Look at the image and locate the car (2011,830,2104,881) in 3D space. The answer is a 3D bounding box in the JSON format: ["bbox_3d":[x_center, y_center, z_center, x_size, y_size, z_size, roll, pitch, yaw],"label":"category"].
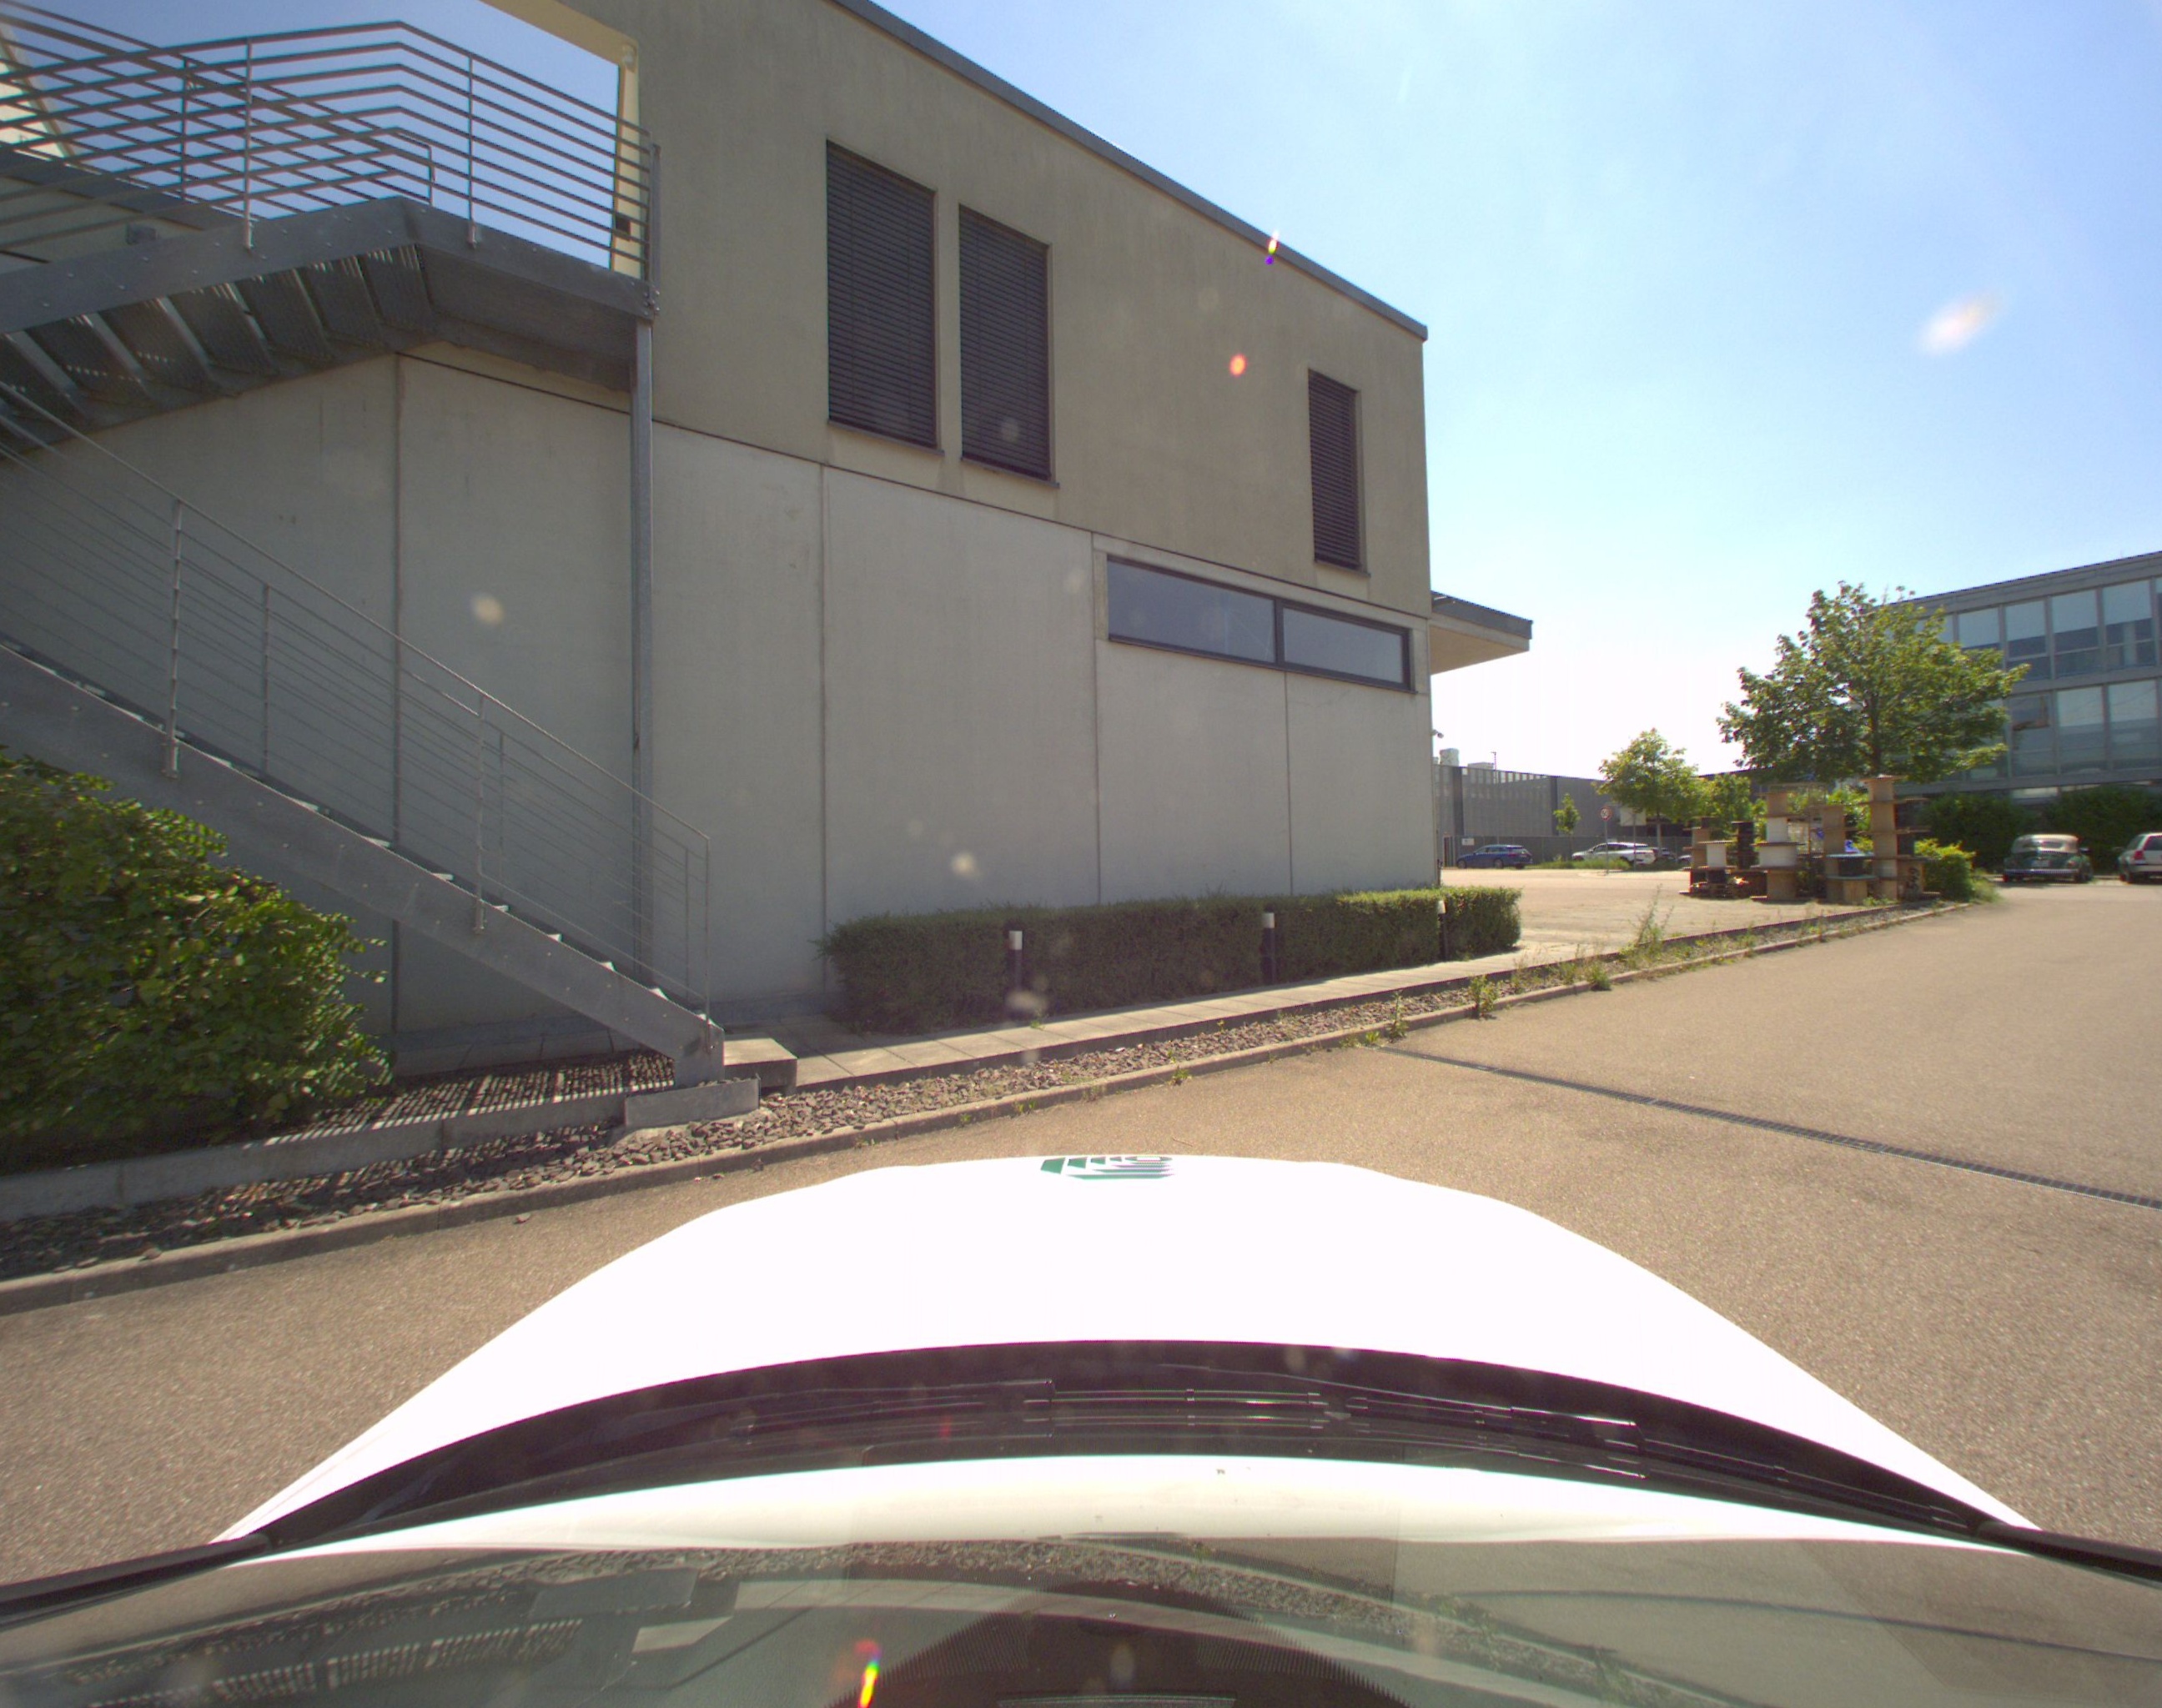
[{"bbox_3d":[30.116,0.016,25.105,3.669,1.449,1.530,-2,1,-35],"label":"car"}]

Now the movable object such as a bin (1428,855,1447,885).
[{"bbox_3d":[12.701,0.562,29.004,0.571,1.036,0.428,-2,-1,24],"label":"movable object such as a bin"}]

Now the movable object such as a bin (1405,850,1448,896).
[{"bbox_3d":[10.418,0.568,24.572,0.886,1.345,0.806,-1,-1,-27],"label":"movable object such as a bin"}]

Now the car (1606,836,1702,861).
[{"bbox_3d":[37.094,-0.318,52.888,1.999,1.491,4.824,-2,0,-19],"label":"car"}]

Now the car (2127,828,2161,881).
[{"bbox_3d":[31.517,-0.018,23.402,3.672,1.449,1.717,-2,1,-39],"label":"car"}]

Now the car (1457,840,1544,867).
[{"bbox_3d":[24.951,-0.031,48.665,2.000,1.491,4.486,-2,0,-19],"label":"car"}]

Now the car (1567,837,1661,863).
[{"bbox_3d":[34.091,-0.241,52.232,1.999,1.491,4.824,-2,0,-19],"label":"car"}]
